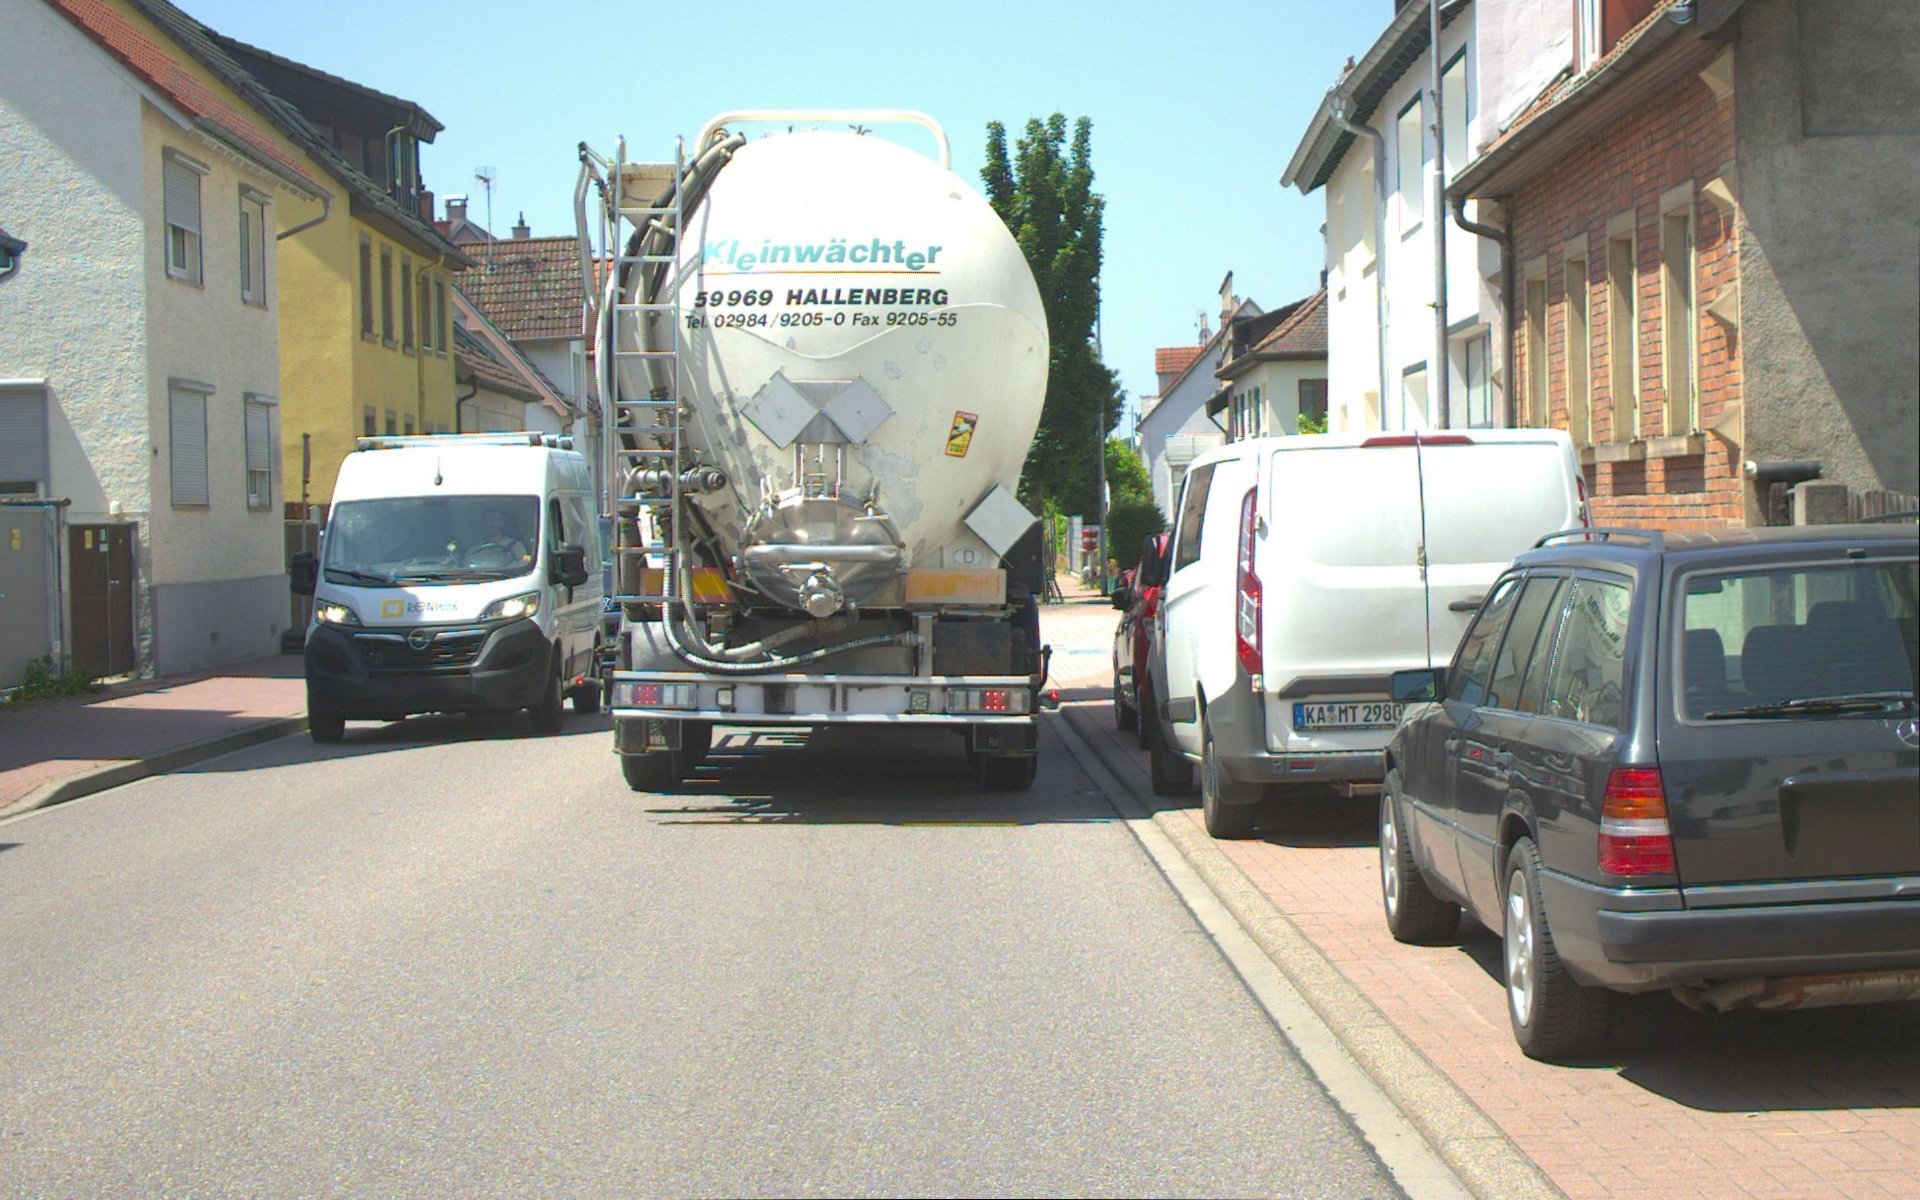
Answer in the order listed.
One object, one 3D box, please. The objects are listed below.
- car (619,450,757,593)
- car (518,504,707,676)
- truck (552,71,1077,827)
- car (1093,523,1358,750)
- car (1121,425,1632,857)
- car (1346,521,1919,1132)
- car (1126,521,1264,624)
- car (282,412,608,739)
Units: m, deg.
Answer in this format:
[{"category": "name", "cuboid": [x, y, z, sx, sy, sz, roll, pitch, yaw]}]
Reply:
[{"category": "car", "cuboid": [-4.762, -1.397, 60.960, 2.050, 2.345, 6.082, -2, 1, -2]}, {"category": "car", "cuboid": [-4.243, -0.173, 42.693, 1.881, 1.937, 5.118, -2, 1, -1]}, {"category": "truck", "cuboid": [-0.863, -0.846, 22.086, 2.732, 3.946, 8.142, 0, 1, -1]}, {"category": "car", "cuboid": [1.913, 0.211, 25.712, 1.610, 1.523, 3.677, -2, 1, -1]}, {"category": "car", "cuboid": [2.063, 0.135, 18.475, 1.946, 1.963, 4.785, -2, 1, -2]}, {"category": "car", "cuboid": [2.386, 0.509, 10.803, 1.770, 1.461, 4.578, -2, 1, 0]}, {"category": "car", "cuboid": [3.876, -0.488, 56.031, 1.815, 1.457, 4.883, 4, 2, 8]}, {"category": "car", "cuboid": [-4.384, -0.259, 30.127, 2.125, 2.533, 5.462, -2, 1, -2]}]
